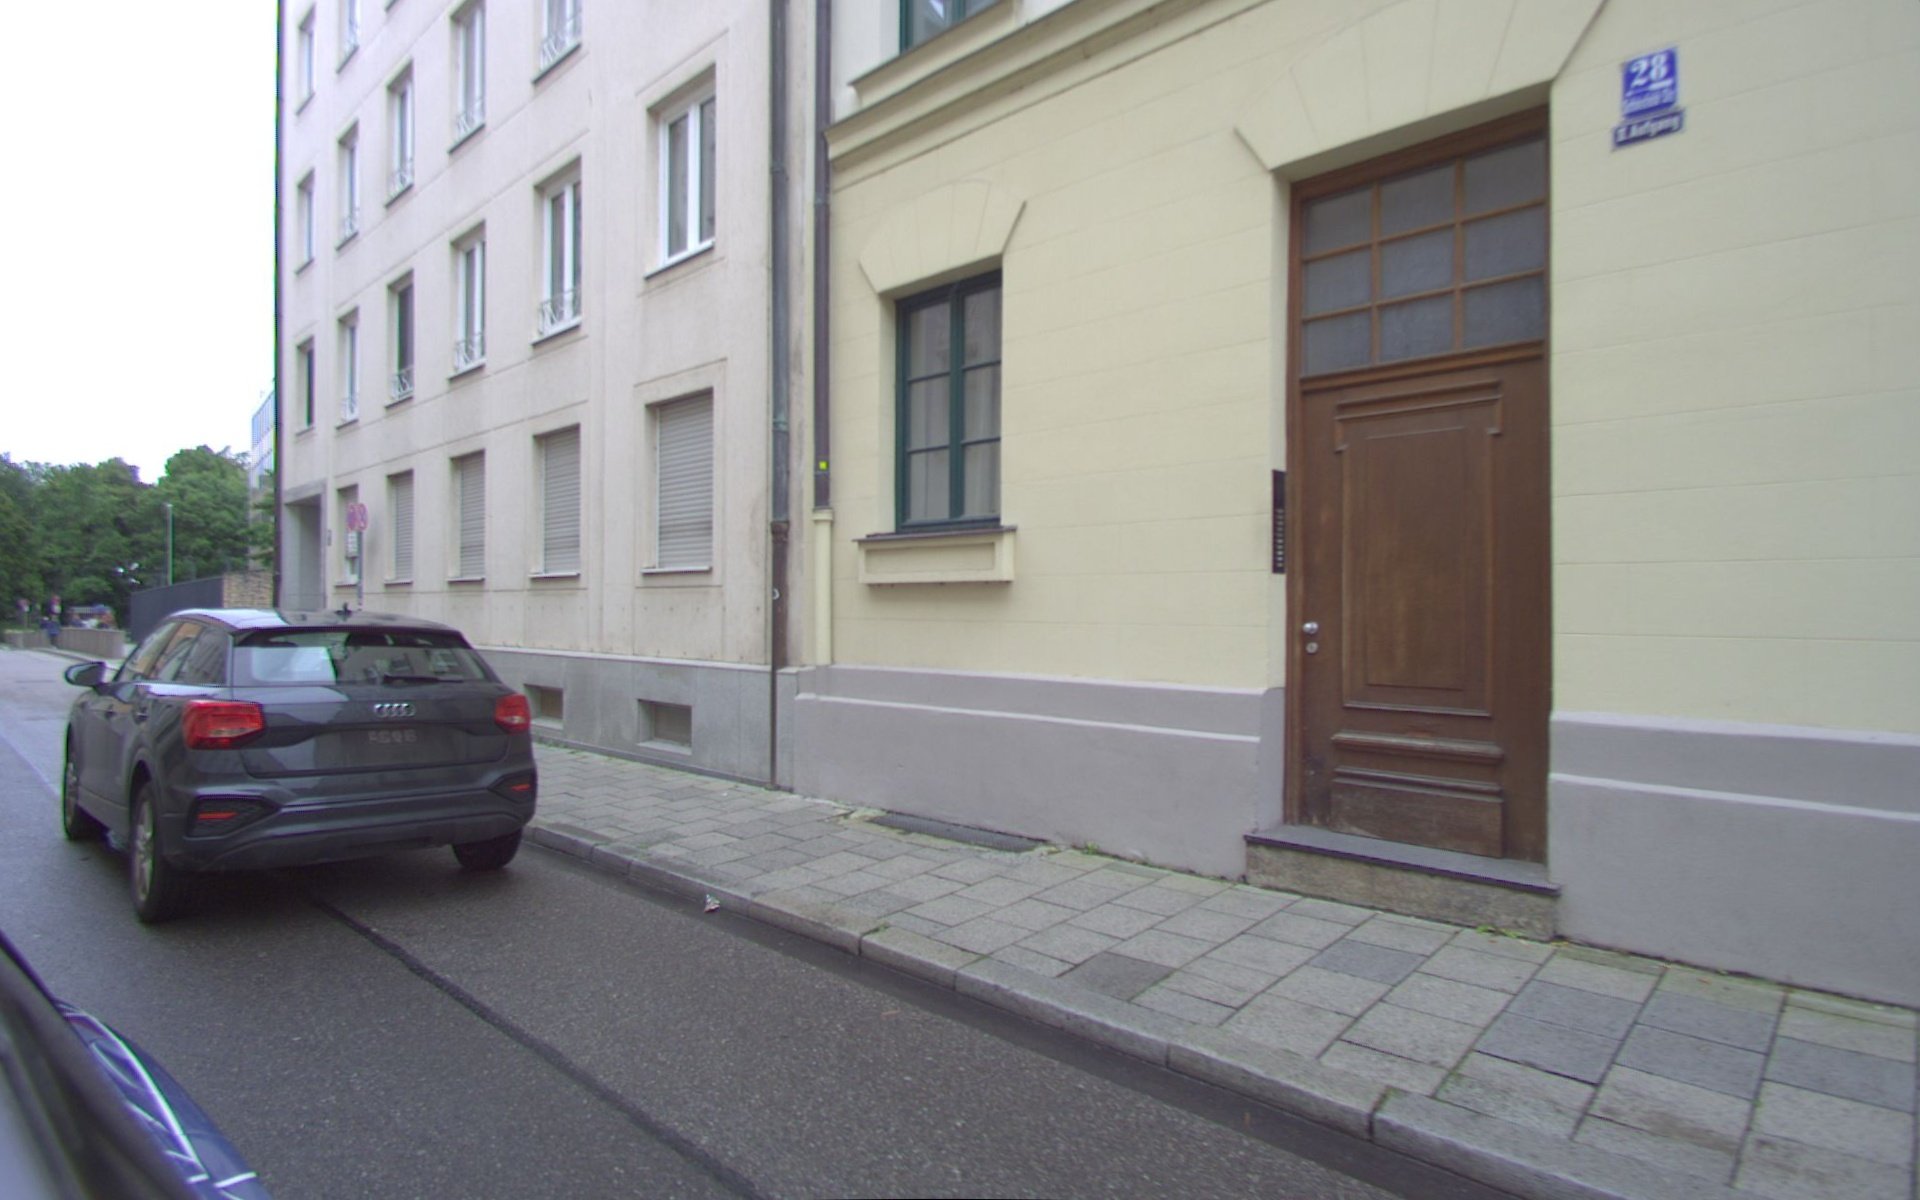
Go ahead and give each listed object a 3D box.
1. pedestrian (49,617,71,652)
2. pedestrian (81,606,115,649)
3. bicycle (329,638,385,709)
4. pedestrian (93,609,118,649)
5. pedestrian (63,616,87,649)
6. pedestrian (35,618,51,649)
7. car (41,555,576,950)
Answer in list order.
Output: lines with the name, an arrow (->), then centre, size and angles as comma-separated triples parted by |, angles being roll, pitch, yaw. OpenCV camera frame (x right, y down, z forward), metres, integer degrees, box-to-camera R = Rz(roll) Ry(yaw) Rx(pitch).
pedestrian -> -39.099, 1.476, 43.973 | 1.079, 1.478, 0.631 | -2, -1, 45
pedestrian -> -42.937, 1.387, 50.416 | 1.209, 2.120, 1.117 | 1, -2, -44
bicycle -> -8.880, 1.058, 14.889 | 0.316, 0.951, 1.575 | -3, 1, -44
pedestrian -> -37.816, 1.288, 44.773 | 0.814, 1.736, 0.907 | -1, -1, -41
pedestrian -> -42.203, 1.536, 48.253 | 0.767, 1.551, 0.934 | -1, 0, -38
pedestrian -> -53.538, 1.968, 59.103 | 0.767, 1.782, 0.617 | -2, -2, 43
car -> -4.147, 0.664, 6.162 | 4.000, 1.606, 1.792 | -1, -2, 43
